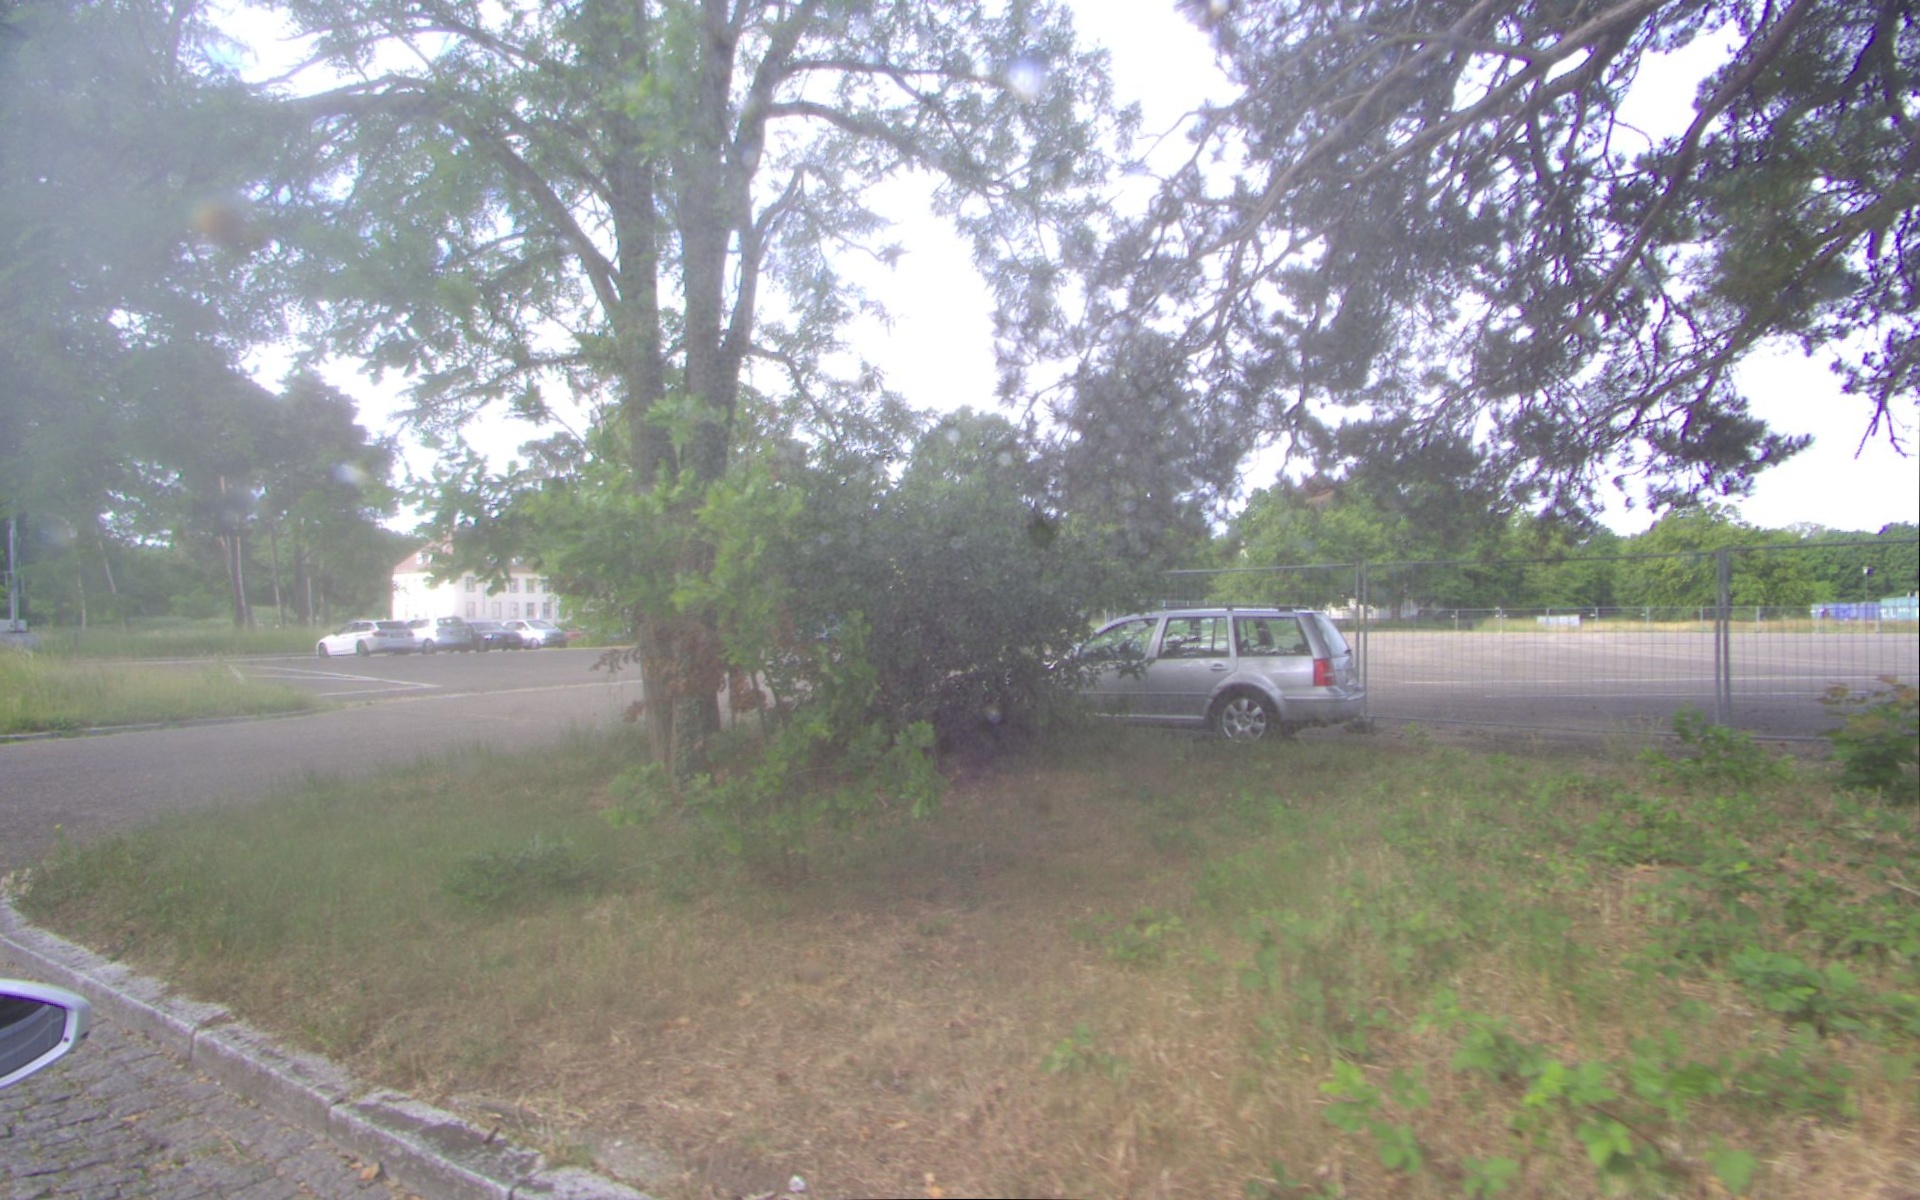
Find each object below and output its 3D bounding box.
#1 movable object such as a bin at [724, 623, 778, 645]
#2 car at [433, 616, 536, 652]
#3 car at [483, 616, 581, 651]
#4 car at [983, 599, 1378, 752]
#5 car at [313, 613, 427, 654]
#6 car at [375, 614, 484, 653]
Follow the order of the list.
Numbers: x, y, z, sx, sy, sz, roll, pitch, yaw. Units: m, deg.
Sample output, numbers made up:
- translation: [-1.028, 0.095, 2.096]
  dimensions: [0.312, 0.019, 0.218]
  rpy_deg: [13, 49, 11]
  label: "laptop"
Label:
- translation: [-8.509, 1.372, 40.732]
  dimensions: [1.928, 0.836, 1.181]
  rpy_deg: [-1, -1, 37]
  label: "movable object such as a bin"
- translation: [-21.105, 1.517, 44.429]
  dimensions: [4.359, 1.500, 1.992]
  rpy_deg: [-2, -1, 29]
  label: "car"
- translation: [-20.091, 1.604, 46.944]
  dimensions: [4.359, 1.542, 1.992]
  rpy_deg: [-2, -3, 29]
  label: "car"
- translation: [2.404, 0.784, 11.189]
  dimensions: [4.014, 1.444, 1.645]
  rpy_deg: [-1, -3, 31]
  label: "car"
- translation: [-23.453, 1.318, 39.784]
  dimensions: [4.359, 1.500, 1.992]
  rpy_deg: [-2, -1, 29]
  label: "car"
- translation: [-22.272, 1.413, 42.012]
  dimensions: [4.359, 1.500, 1.992]
  rpy_deg: [-2, -1, 29]
  label: "car"
